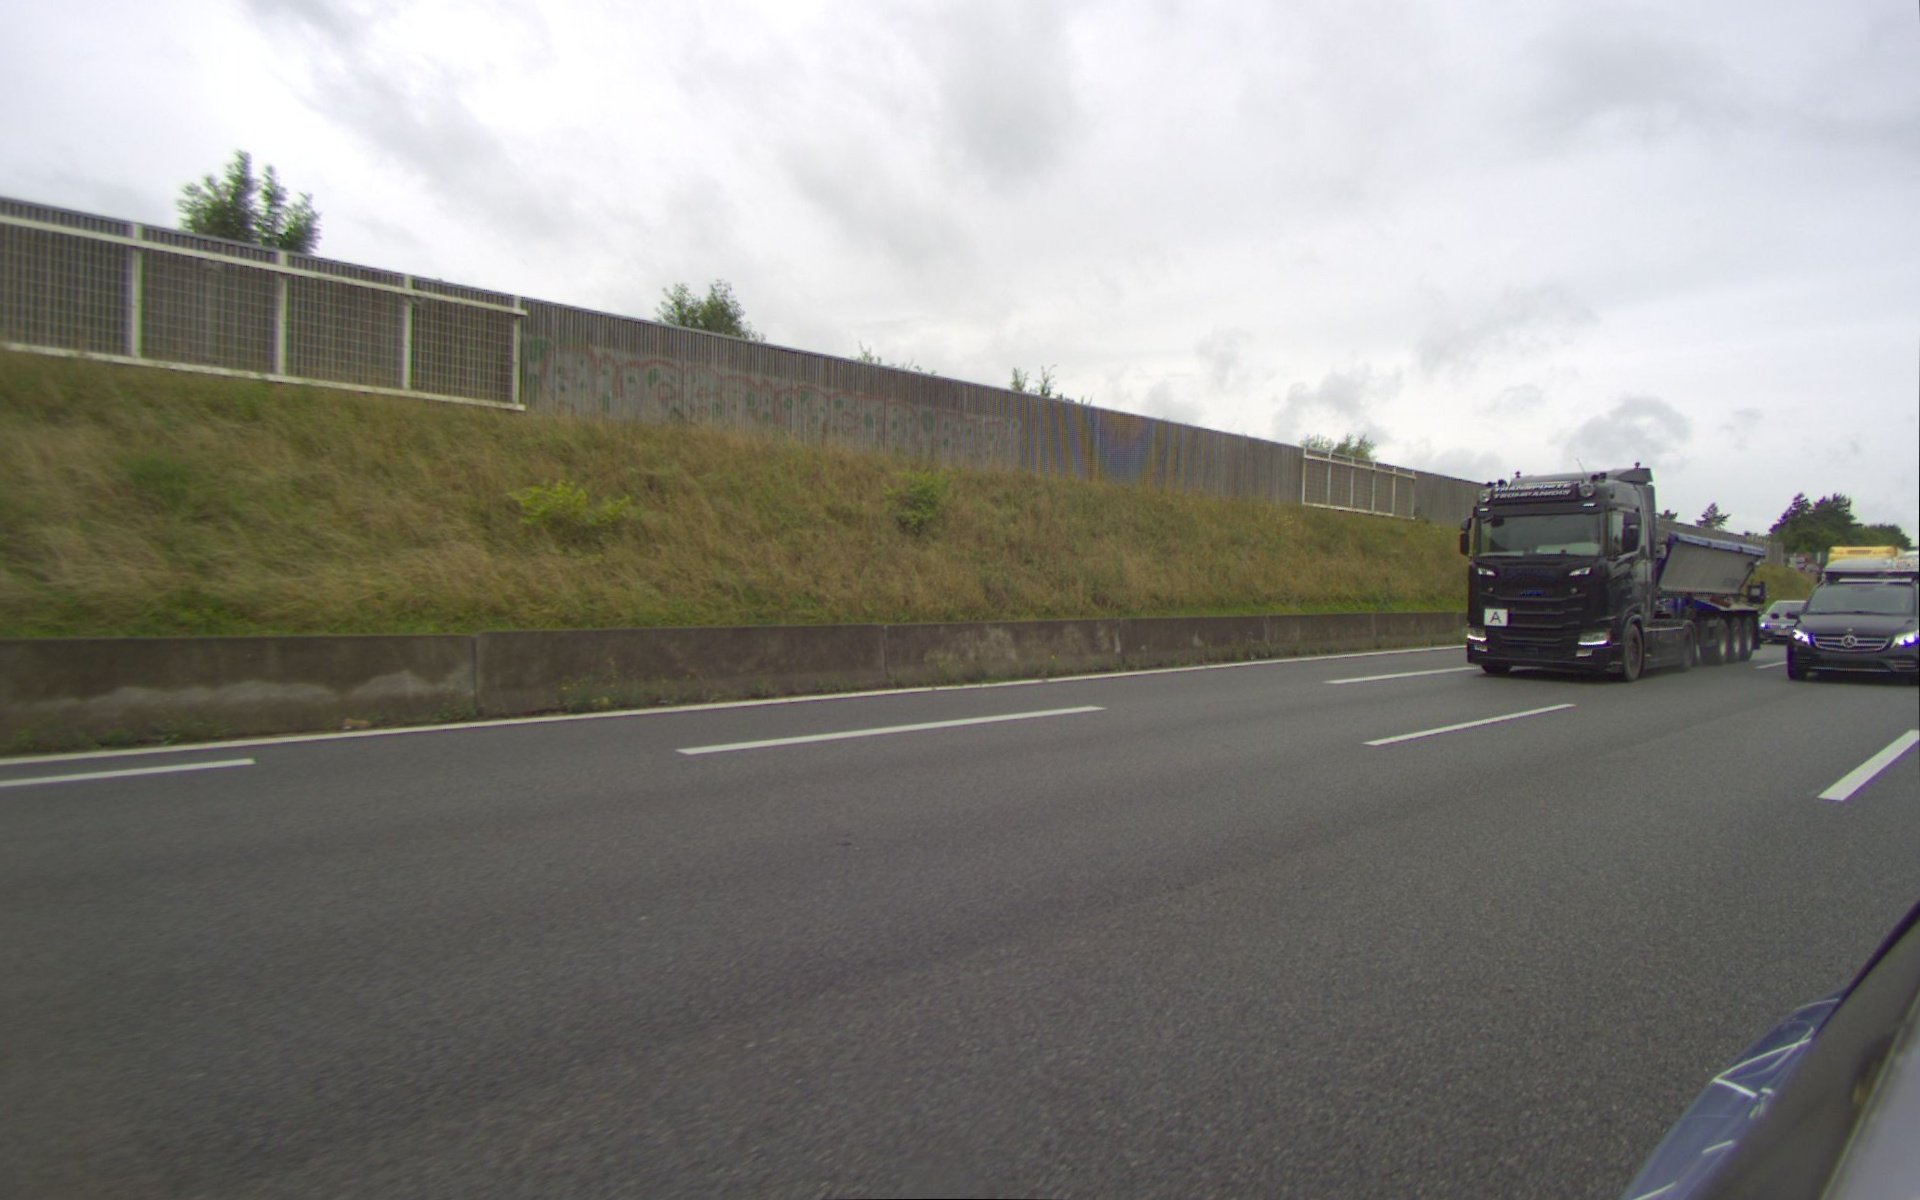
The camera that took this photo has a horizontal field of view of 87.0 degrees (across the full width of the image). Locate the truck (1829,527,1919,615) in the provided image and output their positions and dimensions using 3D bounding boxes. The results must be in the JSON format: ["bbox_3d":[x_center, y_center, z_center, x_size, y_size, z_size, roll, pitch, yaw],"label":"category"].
[{"bbox_3d":[45.408,-1.343,50.097,9.170,4.008,2.688,0,0,-43],"label":"truck"}]

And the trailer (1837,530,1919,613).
[{"bbox_3d":[50.568,-1.423,55.020,16.406,4.003,2.653,-1,0,-43],"label":"trailer"}]

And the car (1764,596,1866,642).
[{"bbox_3d":[28.898,0.588,34.155,5.198,1.445,1.942,0,0,-42],"label":"car"}]

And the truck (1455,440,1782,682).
[{"bbox_3d":[14.804,-0.732,21.980,12.496,3.999,2.817,-1,2,-42],"label":"truck"}]

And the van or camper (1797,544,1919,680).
[{"bbox_3d":[17.773,0.210,19.406,5.582,2.298,1.893,0,0,-42],"label":"van or camper"}]

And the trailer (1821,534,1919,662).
[{"bbox_3d":[22.675,-0.040,23.793,7.382,2.675,2.725,0,1,-42],"label":"trailer"}]
